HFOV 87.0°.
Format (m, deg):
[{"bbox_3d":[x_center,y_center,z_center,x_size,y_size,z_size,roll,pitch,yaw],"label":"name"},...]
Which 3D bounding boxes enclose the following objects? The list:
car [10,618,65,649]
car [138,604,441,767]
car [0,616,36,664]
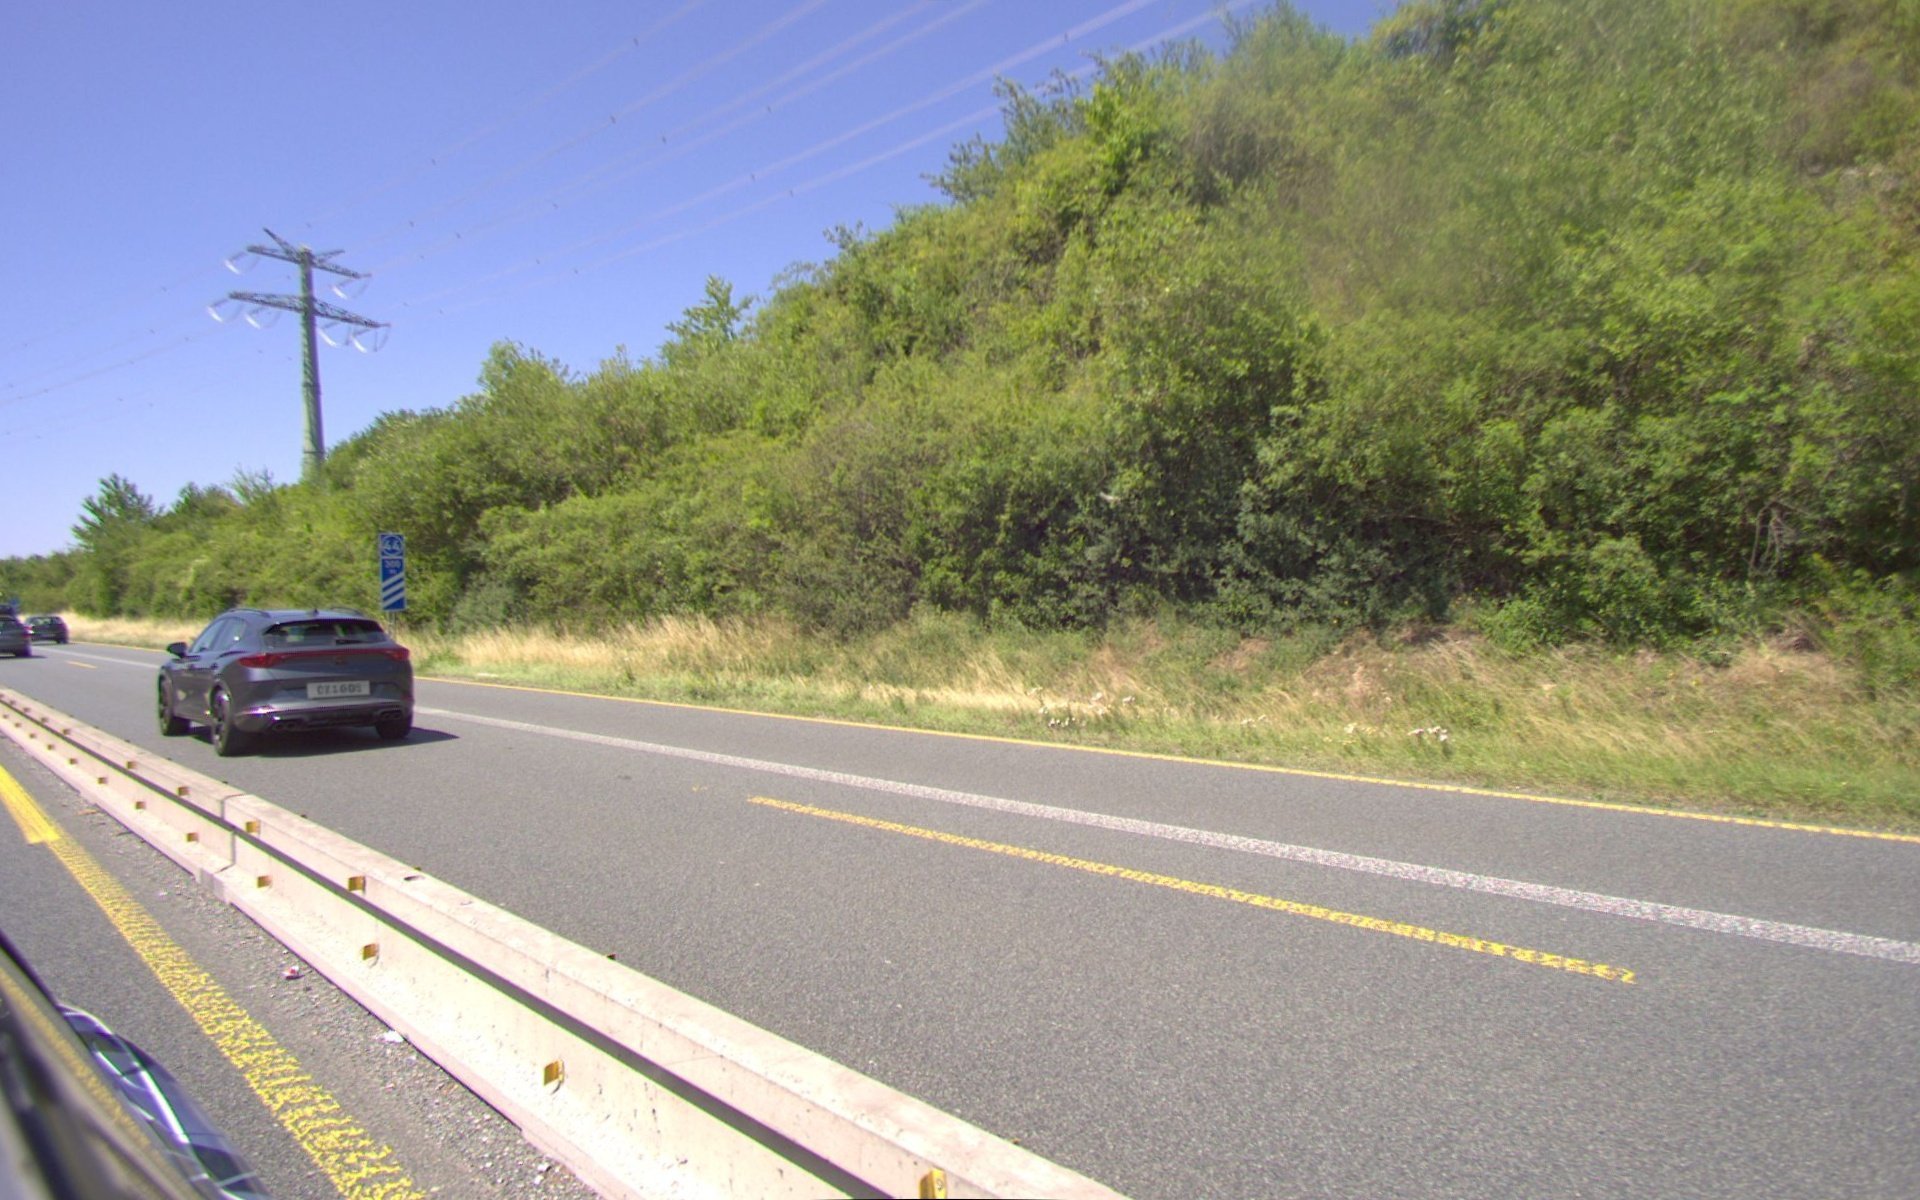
[{"bbox_3d":[-45.556,1.637,49.959,3.641,1.432,1.663,-1,0,42],"label":"car"},{"bbox_3d":[-7.847,0.832,11.686,4.274,1.516,1.879,-1,0,42],"label":"car"},{"bbox_3d":[-33.393,1.355,34.899,4.275,1.527,1.879,-1,0,42],"label":"car"}]
